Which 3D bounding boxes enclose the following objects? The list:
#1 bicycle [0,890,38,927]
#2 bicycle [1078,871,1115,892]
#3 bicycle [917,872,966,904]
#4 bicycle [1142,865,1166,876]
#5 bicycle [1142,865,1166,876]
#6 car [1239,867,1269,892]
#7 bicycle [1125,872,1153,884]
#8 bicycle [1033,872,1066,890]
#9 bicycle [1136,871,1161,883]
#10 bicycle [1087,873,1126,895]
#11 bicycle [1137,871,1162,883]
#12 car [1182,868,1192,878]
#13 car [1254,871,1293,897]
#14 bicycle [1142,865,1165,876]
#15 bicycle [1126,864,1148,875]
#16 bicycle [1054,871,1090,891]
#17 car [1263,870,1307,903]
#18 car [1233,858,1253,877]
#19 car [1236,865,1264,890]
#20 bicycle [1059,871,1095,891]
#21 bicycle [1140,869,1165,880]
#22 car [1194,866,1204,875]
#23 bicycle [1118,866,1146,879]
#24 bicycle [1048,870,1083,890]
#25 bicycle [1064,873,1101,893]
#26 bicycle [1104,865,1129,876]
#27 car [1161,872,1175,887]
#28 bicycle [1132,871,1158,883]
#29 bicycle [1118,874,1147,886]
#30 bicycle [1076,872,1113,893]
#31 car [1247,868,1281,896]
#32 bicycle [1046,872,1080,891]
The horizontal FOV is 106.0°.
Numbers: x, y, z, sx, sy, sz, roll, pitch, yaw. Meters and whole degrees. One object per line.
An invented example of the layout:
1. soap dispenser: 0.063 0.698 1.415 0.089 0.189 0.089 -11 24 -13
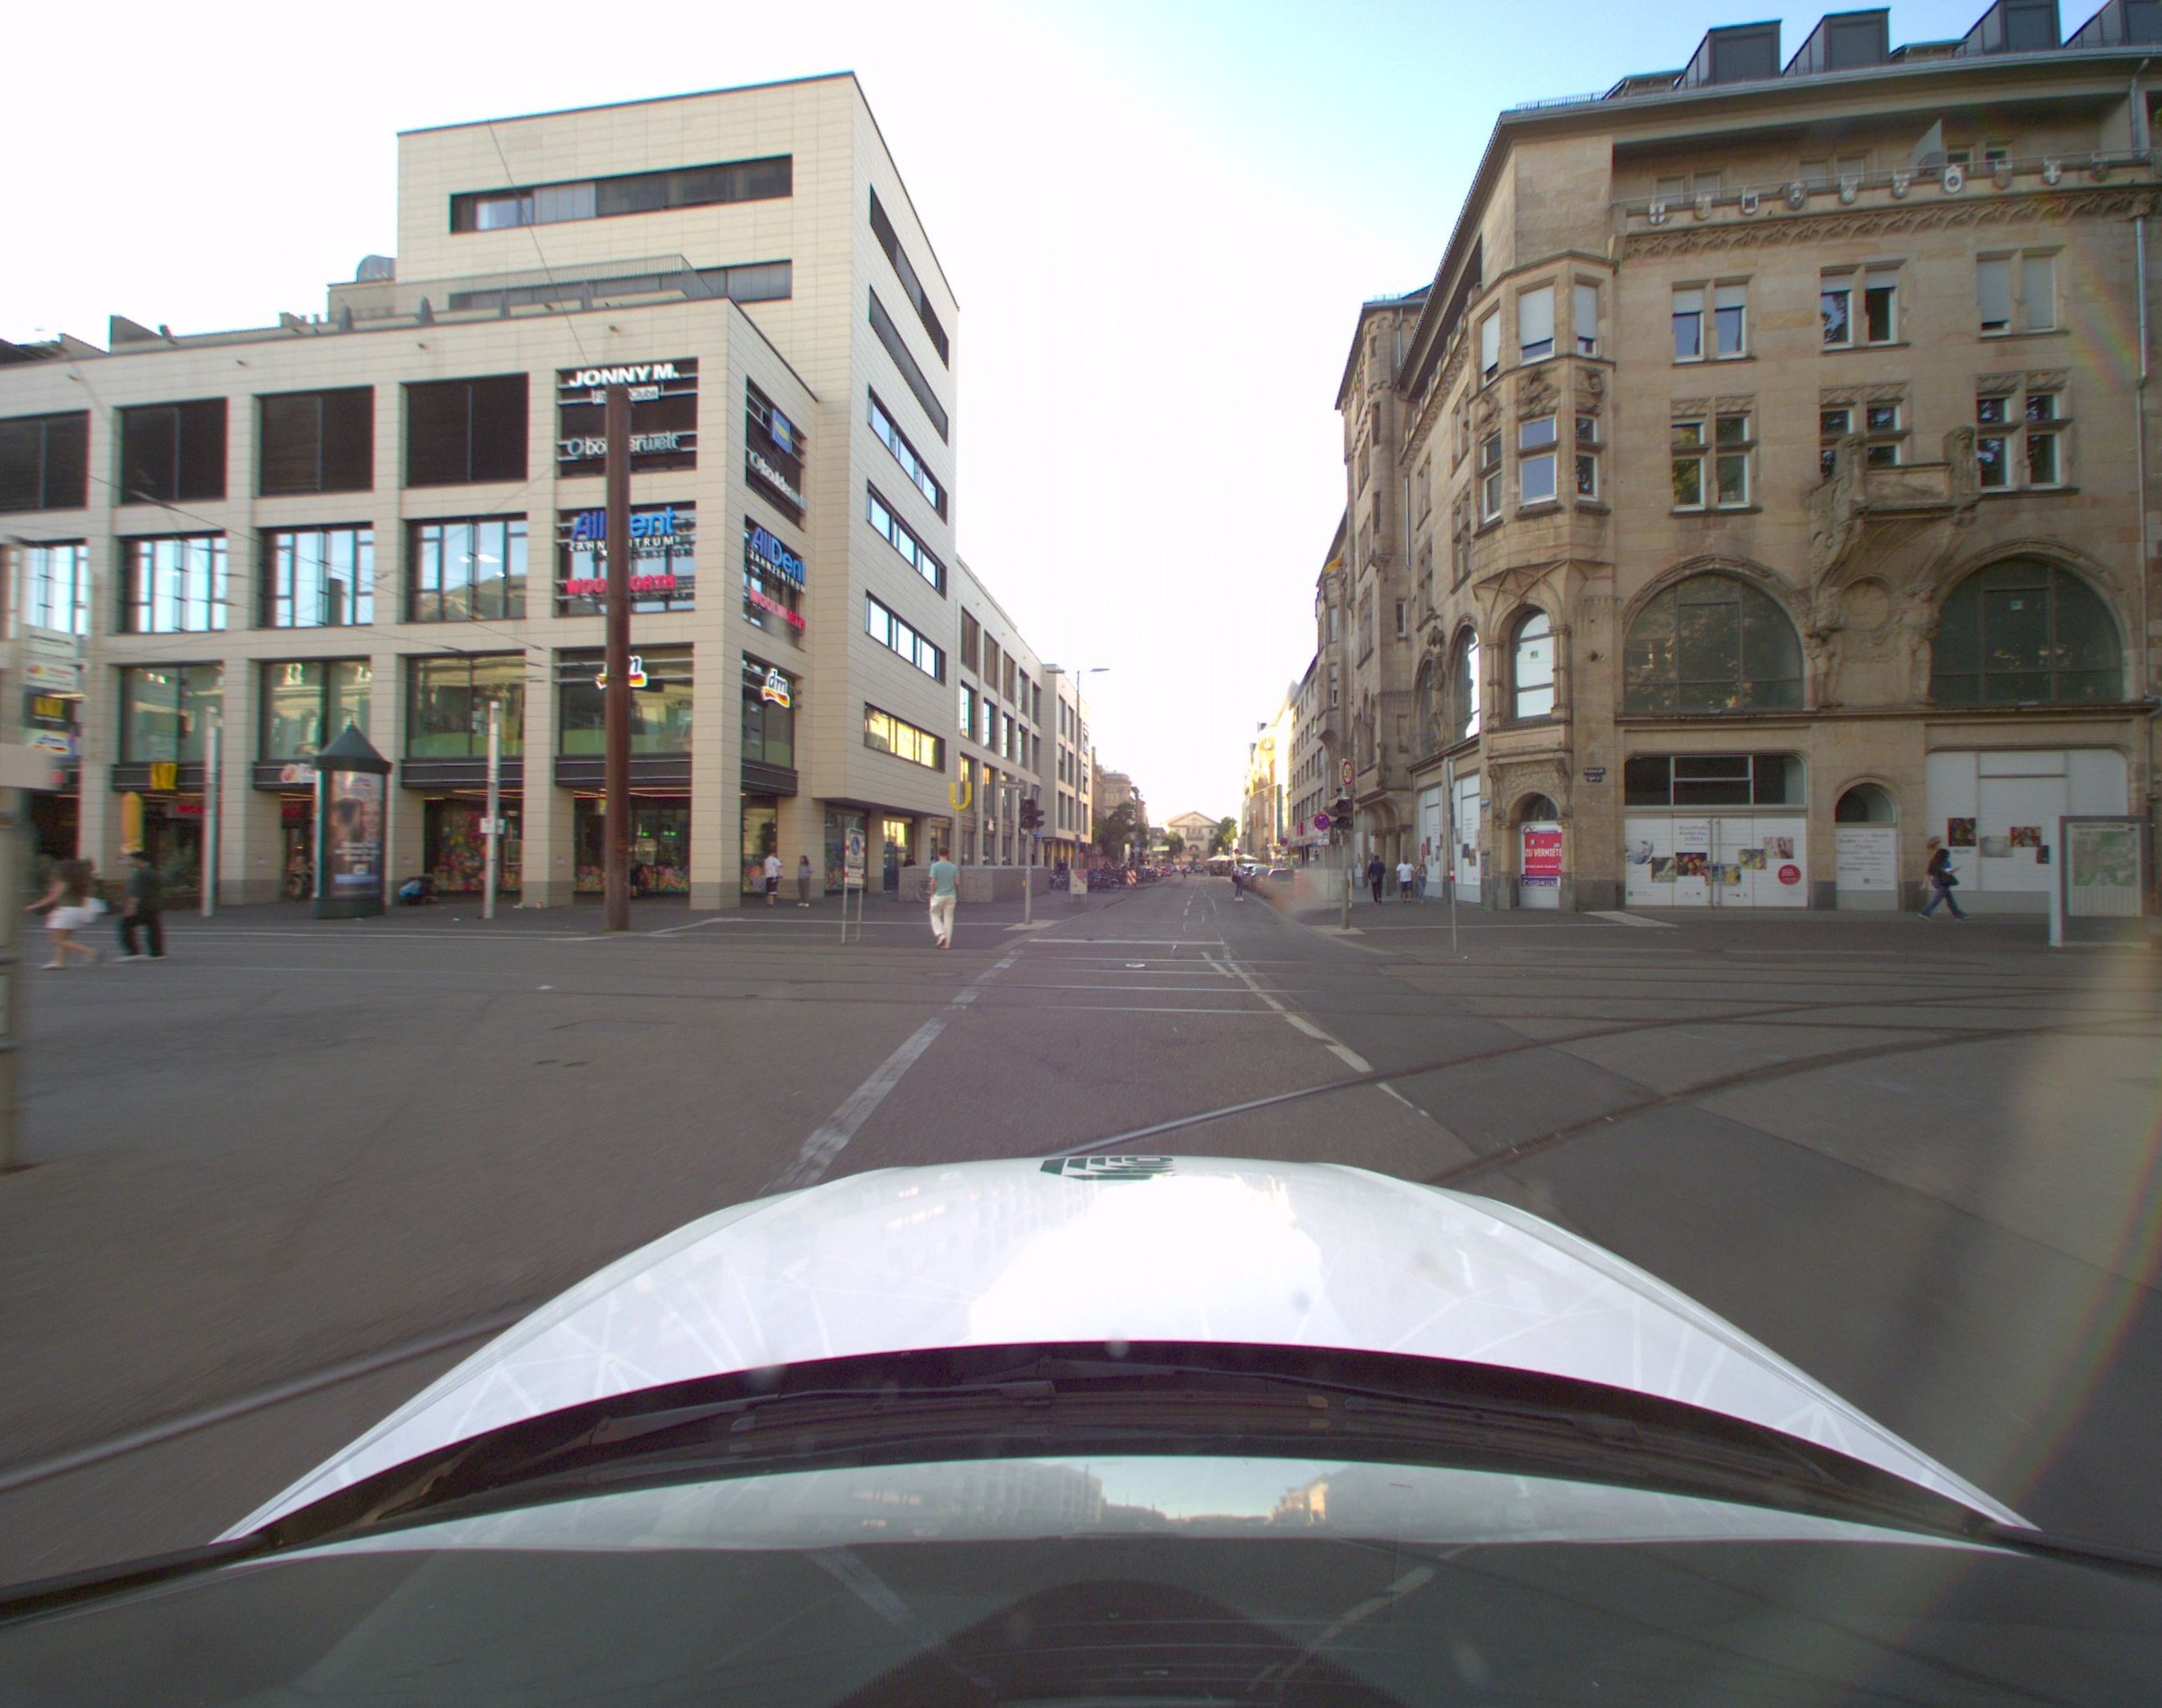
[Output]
1. bicycle: -30.521 1.520 22.564 0.445 0.986 1.938 0 -1 43
2. bicycle: 0.837 1.480 44.059 1.974 1.122 0.554 1 -1 -21
3. bicycle: -5.076 1.236 29.710 1.685 1.122 0.452 1 -1 11
4. bicycle: 6.627 1.506 74.298 2.135 1.029 0.642 -1 -1 10
5. bicycle: 6.726 1.518 75.332 2.135 1.029 0.642 -1 -1 10
6. car: 11.680 1.711 55.154 1.669 1.613 4.037 -2 -1 8
7. bicycle: 4.671 1.908 65.353 2.135 0.953 0.642 -1 -1 10
8. bicycle: -1.919 1.662 49.953 1.974 1.122 0.554 1 -1 -21
9. bicycle: 6.013 2.047 72.702 2.135 1.029 0.642 -1 -1 10
10. bicycle: 1.360 1.589 43.210 1.974 1.122 0.554 1 -1 -21
11. bicycle: 6.067 2.041 71.956 2.135 1.029 0.642 -1 -1 10
12. car: 20.802 3.794 159.863 1.982 1.904 4.009 1 -1 8
13. car: 10.361 1.591 43.960 1.669 1.291 4.056 -2 -1 8
14. bicycle: 6.780 1.525 76.059 2.135 1.029 0.642 -1 -1 10
15. bicycle: 5.514 1.538 79.883 2.135 1.029 0.642 -1 -1 10
16. bicycle: -0.523 1.554 47.099 1.974 1.122 0.554 1 -1 -21
17. car: 9.597 1.505 38.518 1.669 1.424 3.681 0 -1 8
18. car: 15.290 1.287 77.082 1.669 1.666 3.681 -2 -1 8
19. car: 12.664 1.716 61.301 1.789 1.768 4.408 -2 -1 8
20. bicycle: -0.208 1.558 46.516 1.974 1.122 0.554 1 -1 -21
21. bicycle: 6.459 1.837 73.536 2.135 1.029 0.642 -1 -1 10
22. car: 26.016 3.660 179.372 1.982 1.904 4.009 1 -1 8
23. bicycle: 4.040 1.467 64.379 2.135 0.953 0.642 -1 -1 10
24. bicycle: -0.888 1.542 47.722 1.974 1.122 0.554 1 -1 -21
25. bicycle: 0.080 1.623 45.741 1.974 1.122 0.554 1 -1 -21
26. bicycle: 3.103 1.412 71.423 2.135 0.953 0.642 -1 -1 10
27. car: 11.818 3.415 110.417 1.701 2.014 4.009 -1 -1 8
28. bicycle: 5.608 2.026 71.220 2.135 1.029 0.642 -1 -1 10
29. bicycle: 3.962 1.979 62.292 2.135 0.953 0.642 -1 -1 10
30. bicycle: 0.748 1.556 44.783 1.974 1.122 0.554 1 -1 -21
31. car: 11.005 1.646 49.043 1.669 1.547 3.681 -2 -1 8
32. bicycle: -1.087 1.666 48.775 1.974 1.122 0.554 1 -1 -21
